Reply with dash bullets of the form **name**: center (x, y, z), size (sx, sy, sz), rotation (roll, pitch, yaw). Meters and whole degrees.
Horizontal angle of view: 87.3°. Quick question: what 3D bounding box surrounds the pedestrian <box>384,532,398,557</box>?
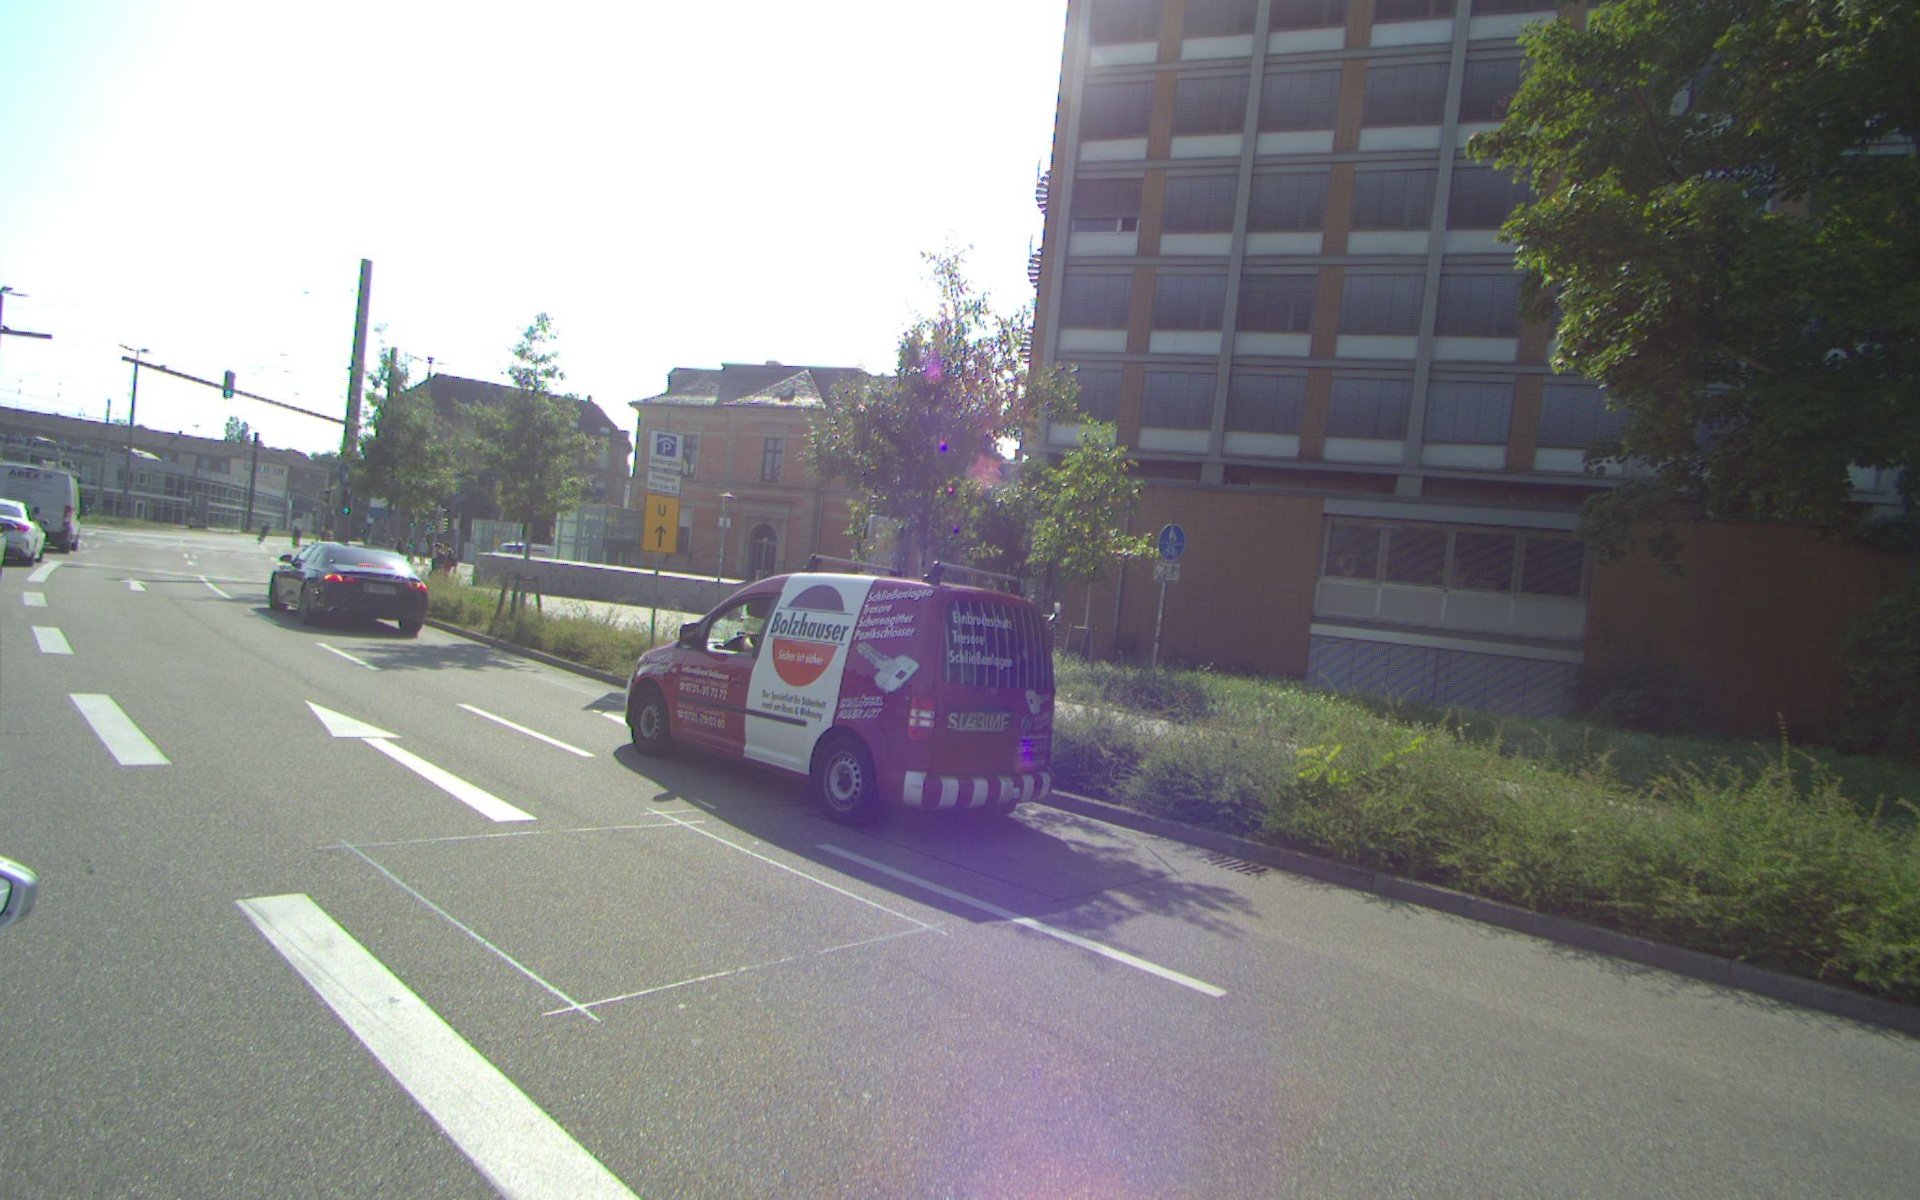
- **pedestrian**: center (-44.995, -4.385, 79.480), size (0.798, 1.913, 0.742), rotation (5, 1, -31)

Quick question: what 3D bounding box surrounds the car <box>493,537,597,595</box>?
- **car**: center (-18.494, -1.481, 44.997), size (1.722, 2.039, 3.995), rotation (9, 1, 26)

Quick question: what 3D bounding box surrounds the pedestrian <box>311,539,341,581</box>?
- **pedestrian**: center (-22.154, -1.405, 35.133), size (0.625, 1.379, 0.635), rotation (7, 1, 42)

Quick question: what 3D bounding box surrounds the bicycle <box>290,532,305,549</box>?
- **bicycle**: center (-47.655, -4.272, 72.379), size (0.700, 1.074, 1.966), rotation (6, 0, -31)

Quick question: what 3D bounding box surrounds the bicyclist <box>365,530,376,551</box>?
- **bicyclist**: center (-54.446, -5.461, 92.938), size (0.741, 1.852, 0.800), rotation (5, 1, -31)

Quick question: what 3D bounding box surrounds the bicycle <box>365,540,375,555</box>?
- **bicycle**: center (-54.514, -4.855, 92.949), size (0.734, 1.233, 2.227), rotation (6, 1, -31)

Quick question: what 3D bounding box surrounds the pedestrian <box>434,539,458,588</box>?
- **pedestrian**: center (-18.051, -1.280, 35.314), size (0.609, 1.649, 0.530), rotation (5, 1, -27)

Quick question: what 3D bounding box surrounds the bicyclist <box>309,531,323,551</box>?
- **bicyclist**: center (-50.945, -4.668, 79.591), size (0.797, 1.479, 0.743), rotation (6, 1, -28)

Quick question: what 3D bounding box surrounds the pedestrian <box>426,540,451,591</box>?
- **pedestrian**: center (-17.793, -1.173, 34.336), size (0.608, 1.659, 0.530), rotation (5, 1, -25)

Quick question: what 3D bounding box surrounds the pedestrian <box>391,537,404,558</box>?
- **pedestrian**: center (-39.576, -3.683, 70.801), size (0.652, 1.378, 0.654), rotation (7, 2, -28)

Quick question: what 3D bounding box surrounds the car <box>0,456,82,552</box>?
- **car**: center (-29.332, -3.002, 31.778), size (2.181, 2.580, 4.629), rotation (6, -1, -42)

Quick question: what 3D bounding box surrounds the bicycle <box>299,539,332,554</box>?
- **bicycle**: center (-50.991, -4.205, 79.601), size (2.034, 0.905, 0.741), rotation (6, 0, -28)

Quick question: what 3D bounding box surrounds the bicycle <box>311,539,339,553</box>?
- **bicycle**: center (-50.866, -4.325, 80.644), size (1.782, 0.896, 0.756), rotation (6, 0, -28)

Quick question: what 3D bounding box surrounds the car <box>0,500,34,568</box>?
- **car**: center (-22.135, -1.588, 22.813), size (1.484, 1.420, 3.893), rotation (7, -1, -44)

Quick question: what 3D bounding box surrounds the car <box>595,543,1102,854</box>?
- **car**: center (-1.130, 0.631, 8.500), size (4.218, 1.841, 1.730), rotation (6, -1, 42)

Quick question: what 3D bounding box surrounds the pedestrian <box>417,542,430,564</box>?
- **pedestrian**: center (-36.338, -3.215, 68.123), size (0.652, 1.378, 0.654), rotation (7, 2, -28)

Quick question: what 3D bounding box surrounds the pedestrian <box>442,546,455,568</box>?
- **pedestrian**: center (-34.237, -2.900, 67.375), size (0.652, 1.378, 0.654), rotation (7, 2, -28)

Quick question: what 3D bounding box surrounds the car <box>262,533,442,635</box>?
- **car**: center (-11.538, -0.356, 18.920), size (1.815, 1.457, 4.814), rotation (7, -1, -43)

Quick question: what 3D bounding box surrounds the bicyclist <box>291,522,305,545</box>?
- **bicyclist**: center (-47.638, -4.773, 72.431), size (0.707, 1.549, 0.800), rotation (5, 1, -31)

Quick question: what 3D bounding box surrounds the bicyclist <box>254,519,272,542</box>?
- **bicyclist**: center (-52.590, -5.262, 75.903), size (0.764, 1.598, 0.985), rotation (6, 0, -22)

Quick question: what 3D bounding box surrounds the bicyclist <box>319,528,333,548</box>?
- **bicyclist**: center (-50.809, -4.978, 80.631), size (0.797, 1.517, 0.743), rotation (6, 1, -28)
